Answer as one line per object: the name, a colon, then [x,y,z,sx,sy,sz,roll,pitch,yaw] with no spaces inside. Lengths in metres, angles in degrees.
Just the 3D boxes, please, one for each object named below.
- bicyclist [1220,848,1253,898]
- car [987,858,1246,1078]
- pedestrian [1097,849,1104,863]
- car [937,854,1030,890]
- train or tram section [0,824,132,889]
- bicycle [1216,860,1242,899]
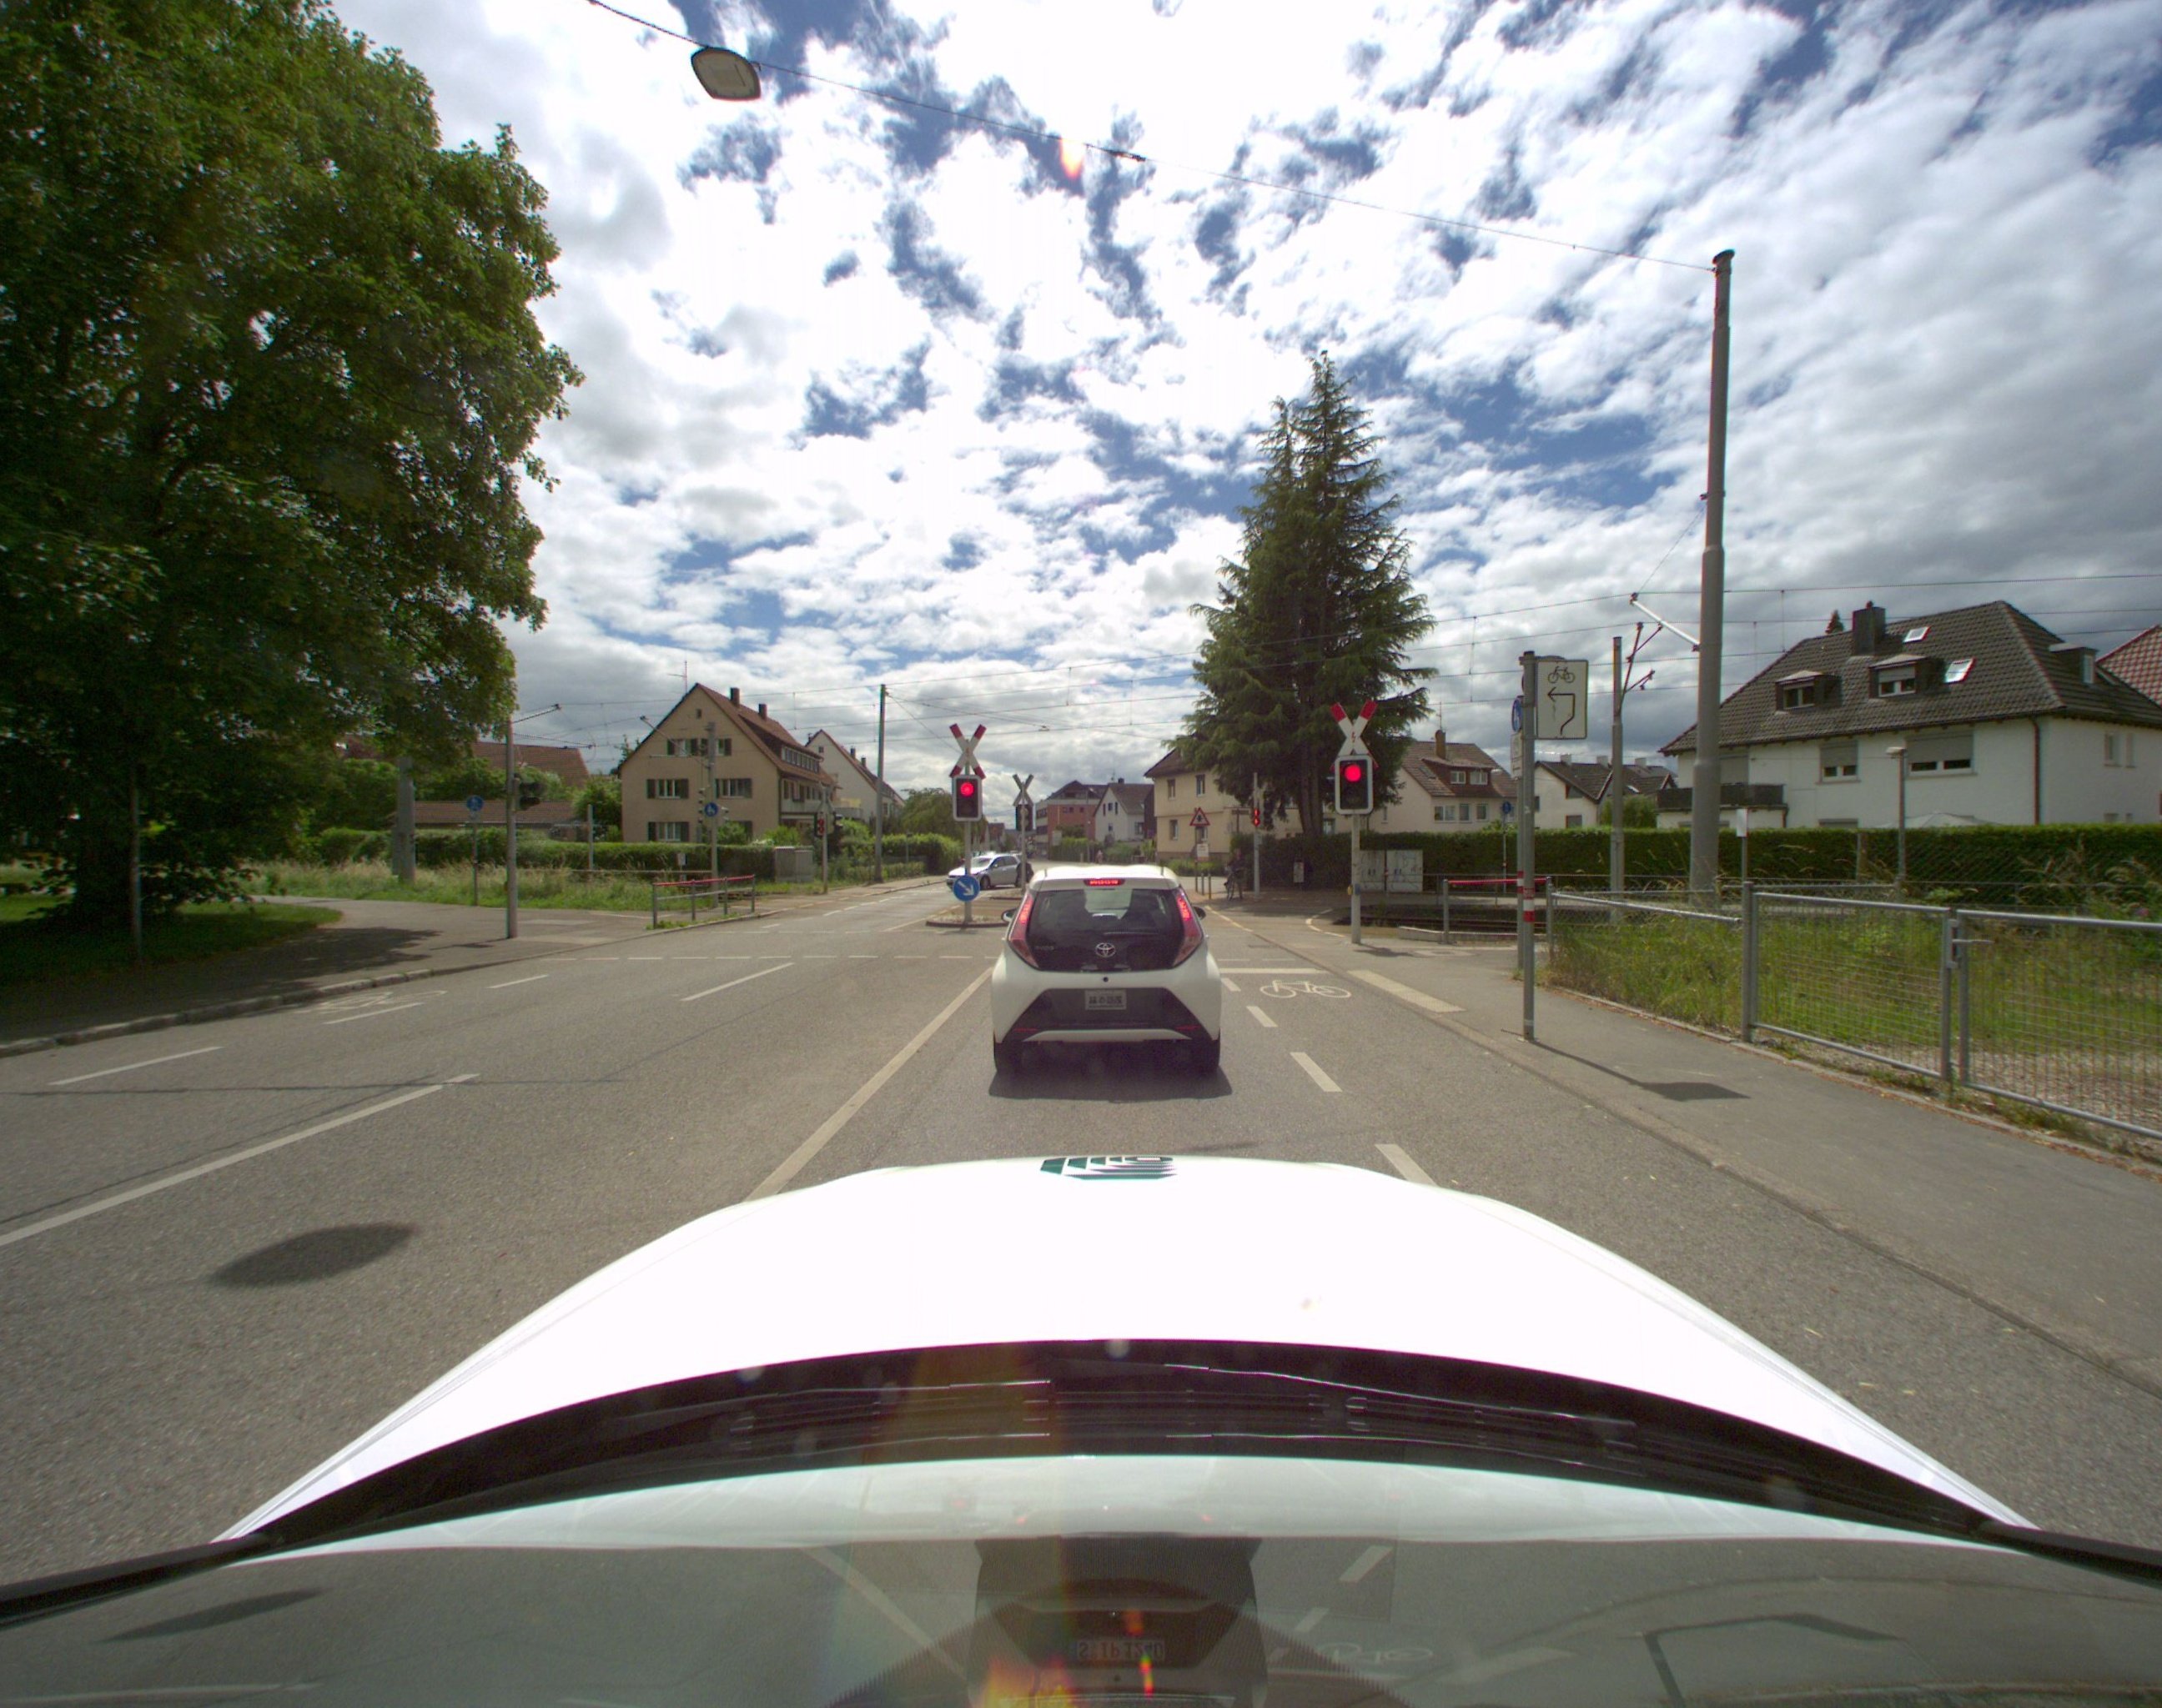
bicyclist: [5.090,0.603,26.641,0.839,1.553,0.755,-3,2,-4]
car: [0.197,0.772,7.283,1.716,1.442,3.706,0,0,-2]
pedestrian: [2.212,0.192,91.238,0.723,1.576,0.804,0,0,2]
car: [-4.163,0.749,35.248,1.887,1.441,4.124,0,0,30]
train or tram section: [-66.176,0.115,51.437,18.885,3.704,2.936,0,1,24]
bicycle: [4.853,0.815,26.783,0.456,1.172,1.477,-3,2,-4]
